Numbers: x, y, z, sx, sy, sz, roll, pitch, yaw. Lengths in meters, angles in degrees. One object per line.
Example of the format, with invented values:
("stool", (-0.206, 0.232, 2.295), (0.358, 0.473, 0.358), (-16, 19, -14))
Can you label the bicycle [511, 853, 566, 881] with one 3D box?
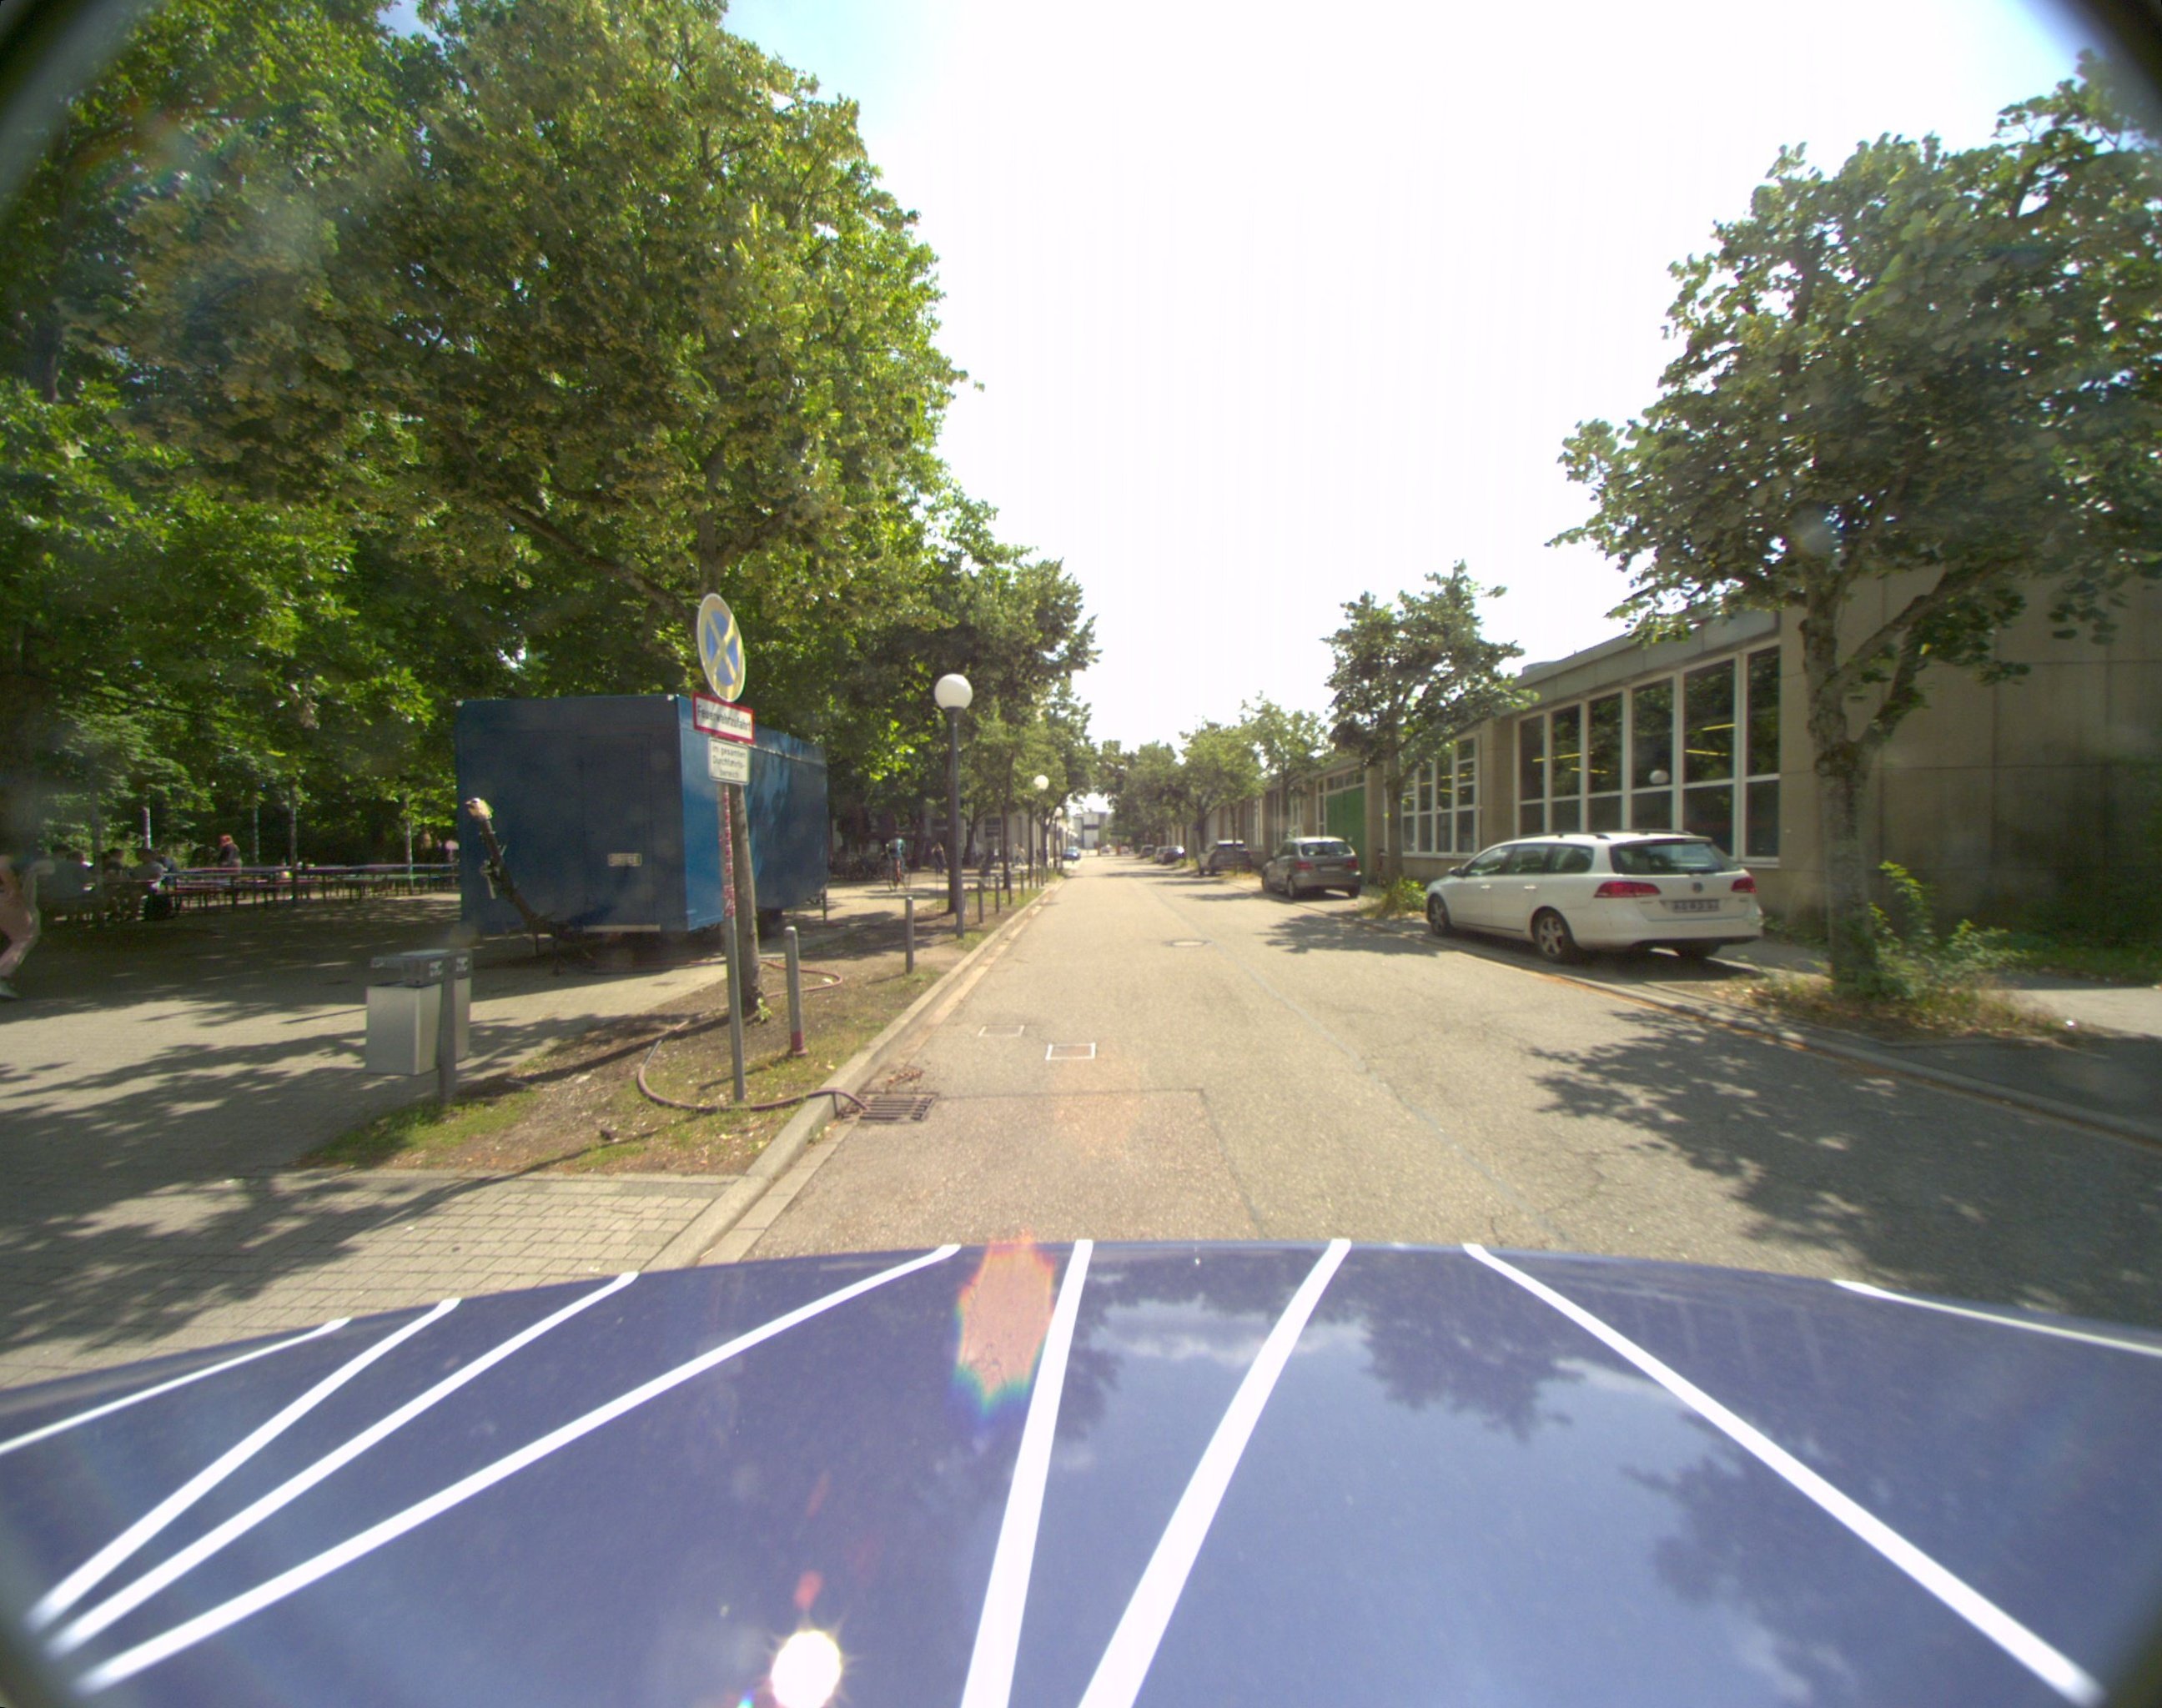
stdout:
("bicycle", (-21.816, 0.531, 30.584), (1.755, 1.087, 0.477), (0, 1, -25))

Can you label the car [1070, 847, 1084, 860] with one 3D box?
("car", (-0.514, -0.084, 104.154), (1.798, 1.691, 4.000), (2, 0, 2))

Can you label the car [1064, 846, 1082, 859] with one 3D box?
("car", (-0.873, -0.184, 83.581), (1.842, 1.390, 3.878), (1, 0, 2))

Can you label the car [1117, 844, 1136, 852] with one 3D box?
("car", (9.512, -1.339, 157.948), (3.673, 1.441, 1.804), (-4, 1, 0))

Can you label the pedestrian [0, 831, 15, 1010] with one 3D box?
("pedestrian", (-10.323, 0.627, 6.529), (0.877, 1.629, 0.948), (-2, 2, 1))

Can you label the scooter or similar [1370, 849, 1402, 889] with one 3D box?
("scooter or similar", (9.354, 0.433, 23.343), (0.506, 1.162, 1.215), (-3, 1, 2))

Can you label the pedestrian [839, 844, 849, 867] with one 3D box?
("pedestrian", (-18.097, 0.113, 58.090), (0.428, 1.693, 0.944), (-3, 1, -3))

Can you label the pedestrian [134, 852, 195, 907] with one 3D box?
("pedestrian", (-21.682, 0.601, 17.983), (0.668, 1.264, 0.622), (2, 0, -3))

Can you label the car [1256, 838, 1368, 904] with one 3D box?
("car", (6.277, 0.397, 21.141), (1.762, 1.547, 4.112), (-3, 1, 0))

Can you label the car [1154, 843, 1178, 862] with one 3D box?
("car", (7.378, -0.157, 65.914), (1.634, 1.441, 3.752), (-4, 1, 1))

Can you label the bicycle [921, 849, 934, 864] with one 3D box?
("bicycle", (-11.612, 0.227, 57.573), (0.481, 1.118, 1.697), (1, -1, 7))

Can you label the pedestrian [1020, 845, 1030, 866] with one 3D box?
("pedestrian", (-4.664, 0.086, 63.380), (0.797, 1.718, 0.601), (-1, 1, 1))

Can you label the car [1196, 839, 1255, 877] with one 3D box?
("car", (6.860, 0.131, 36.511), (1.826, 1.623, 4.515), (-3, 1, -1))

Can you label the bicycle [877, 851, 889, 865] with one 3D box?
("bicycle", (-15.008, 0.310, 57.616), (0.568, 1.041, 1.695), (-4, 0, -6))

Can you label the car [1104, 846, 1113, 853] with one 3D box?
("car", (6.428, -1.115, 178.575), (1.803, 1.441, 3.676), (-4, 1, 1))

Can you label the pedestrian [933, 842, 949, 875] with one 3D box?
("pedestrian", (-6.867, 0.222, 37.246), (0.570, 1.563, 0.927), (0, 5, 2))

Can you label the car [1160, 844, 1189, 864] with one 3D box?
("car", (7.402, 0.002, 60.246), (1.729, 1.427, 4.289), (-3, 0, 1))

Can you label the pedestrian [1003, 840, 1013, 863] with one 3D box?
("pedestrian", (-6.209, -0.216, 64.550), (0.687, 1.880, 0.686), (-2, 2, -1))

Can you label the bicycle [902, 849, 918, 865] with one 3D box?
("bicycle", (-12.958, 0.235, 57.505), (0.627, 1.118, 1.697), (1, -1, 7))

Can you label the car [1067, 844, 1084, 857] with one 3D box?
("car", (-0.572, -0.382, 89.276), (1.842, 1.390, 3.878), (1, 0, 2))

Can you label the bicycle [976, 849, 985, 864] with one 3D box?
("bicycle", (-8.659, 0.191, 65.540), (0.531, 1.235, 1.829), (-1, 2, 1))

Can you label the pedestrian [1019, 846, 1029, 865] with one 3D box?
("pedestrian", (-4.703, 0.084, 62.664), (0.797, 1.533, 0.664), (-1, 1, 1))

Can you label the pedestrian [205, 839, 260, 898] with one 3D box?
("pedestrian", (-23.105, 0.386, 20.692), (0.719, 1.572, 0.668), (2, 0, -12))

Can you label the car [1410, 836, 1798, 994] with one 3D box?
("car", (6.102, 0.557, 9.700), (1.729, 1.448, 4.582), (-3, 1, 0))

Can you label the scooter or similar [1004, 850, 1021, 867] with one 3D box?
("scooter or similar", (-4.627, 0.312, 51.605), (0.496, 1.107, 1.365), (0, 0, 26))

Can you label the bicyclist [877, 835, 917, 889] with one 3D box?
("bicyclist", (-5.560, 0.228, 22.992), (0.651, 1.558, 1.197), (2, 2, 15))

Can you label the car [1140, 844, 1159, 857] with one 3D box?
("car", (7.959, -0.436, 88.088), (1.803, 1.441, 3.676), (-4, 1, 1))

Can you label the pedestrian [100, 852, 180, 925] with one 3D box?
("pedestrian", (-17.672, 0.633, 14.287), (0.571, 1.339, 0.729), (2, 0, -3))

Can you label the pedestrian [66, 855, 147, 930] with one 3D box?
("pedestrian", (-18.255, 0.704, 14.249), (0.571, 1.339, 0.729), (2, 0, -3))

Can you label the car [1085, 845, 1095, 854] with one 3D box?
("car", (2.107, -1.120, 175.600), (1.998, 2.002, 4.000), (2, 0, 2))

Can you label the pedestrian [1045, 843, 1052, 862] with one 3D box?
("pedestrian", (-3.031, -0.149, 70.412), (0.613, 1.719, 0.542), (-1, 2, 3))

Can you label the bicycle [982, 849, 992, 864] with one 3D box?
("bicycle", (-7.095, 0.197, 57.413), (0.561, 1.135, 1.489), (1, 1, -1))

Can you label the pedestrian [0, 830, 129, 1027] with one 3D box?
("pedestrian", (-9.356, 0.616, 6.619), (0.877, 1.628, 0.949), (-1, 1, 1))

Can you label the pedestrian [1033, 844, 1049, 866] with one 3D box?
("pedestrian", (-3.068, 0.072, 58.507), (0.936, 1.730, 0.750), (-1, 2, 17))

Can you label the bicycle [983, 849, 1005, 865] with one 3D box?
("bicycle", (-6.467, 0.230, 56.649), (0.604, 1.135, 1.790), (2, 2, 34))
